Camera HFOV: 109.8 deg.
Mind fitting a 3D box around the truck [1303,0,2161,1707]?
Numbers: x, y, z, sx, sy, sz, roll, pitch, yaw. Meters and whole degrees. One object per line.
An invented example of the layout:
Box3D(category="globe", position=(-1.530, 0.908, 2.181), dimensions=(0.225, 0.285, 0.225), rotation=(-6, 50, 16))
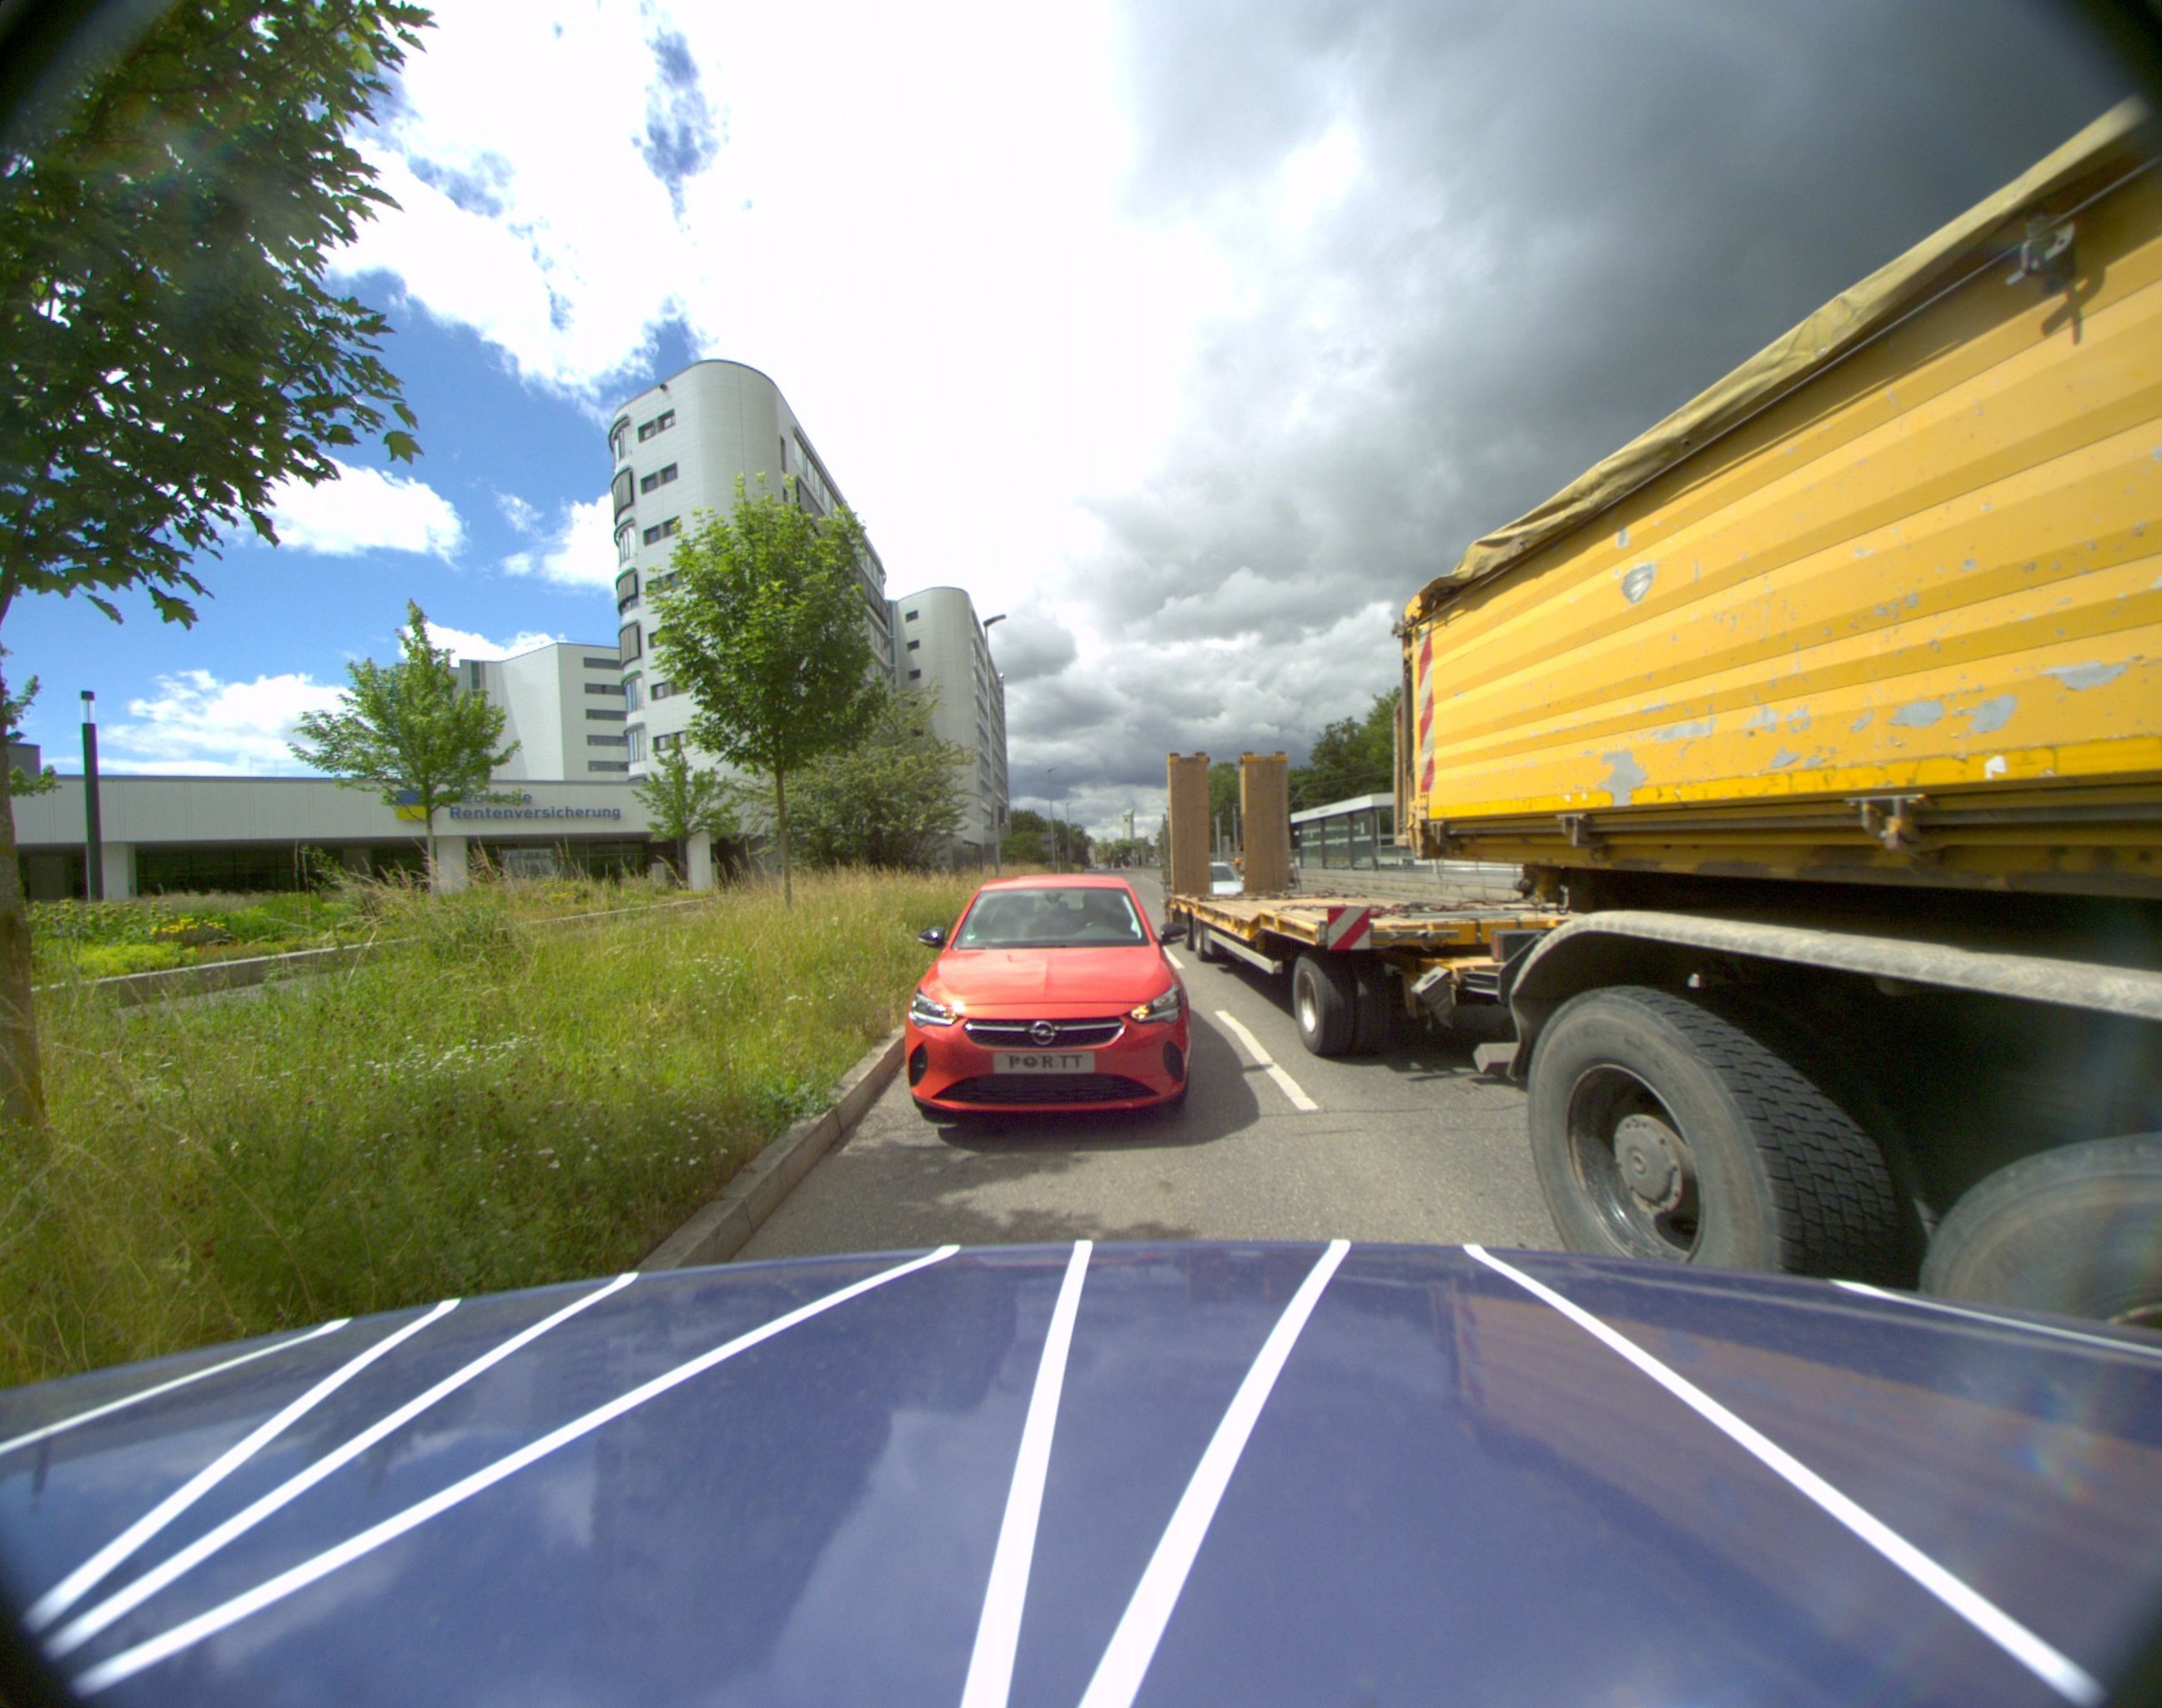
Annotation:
Box3D(category="truck", position=(2.815, -0.060, 0.127), dimensions=(3.057, 3.374, 8.006), rotation=(-2, 0, 0))

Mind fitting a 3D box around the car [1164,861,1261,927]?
Box3D(category="car", position=(3.175, 0.911, 19.026), dimensions=(1.784, 1.408, 3.785), rotation=(-2, 0, 1))

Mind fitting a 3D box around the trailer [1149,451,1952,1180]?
Box3D(category="trailer", position=(2.940, -0.176, 9.429), dimensions=(3.057, 3.676, 10.965), rotation=(-2, 0, 0))

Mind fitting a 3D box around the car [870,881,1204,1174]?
Box3D(category="car", position=(-0.200, 0.986, 5.858), dimensions=(1.749, 1.408, 3.676), rotation=(-1, 0, 1))
